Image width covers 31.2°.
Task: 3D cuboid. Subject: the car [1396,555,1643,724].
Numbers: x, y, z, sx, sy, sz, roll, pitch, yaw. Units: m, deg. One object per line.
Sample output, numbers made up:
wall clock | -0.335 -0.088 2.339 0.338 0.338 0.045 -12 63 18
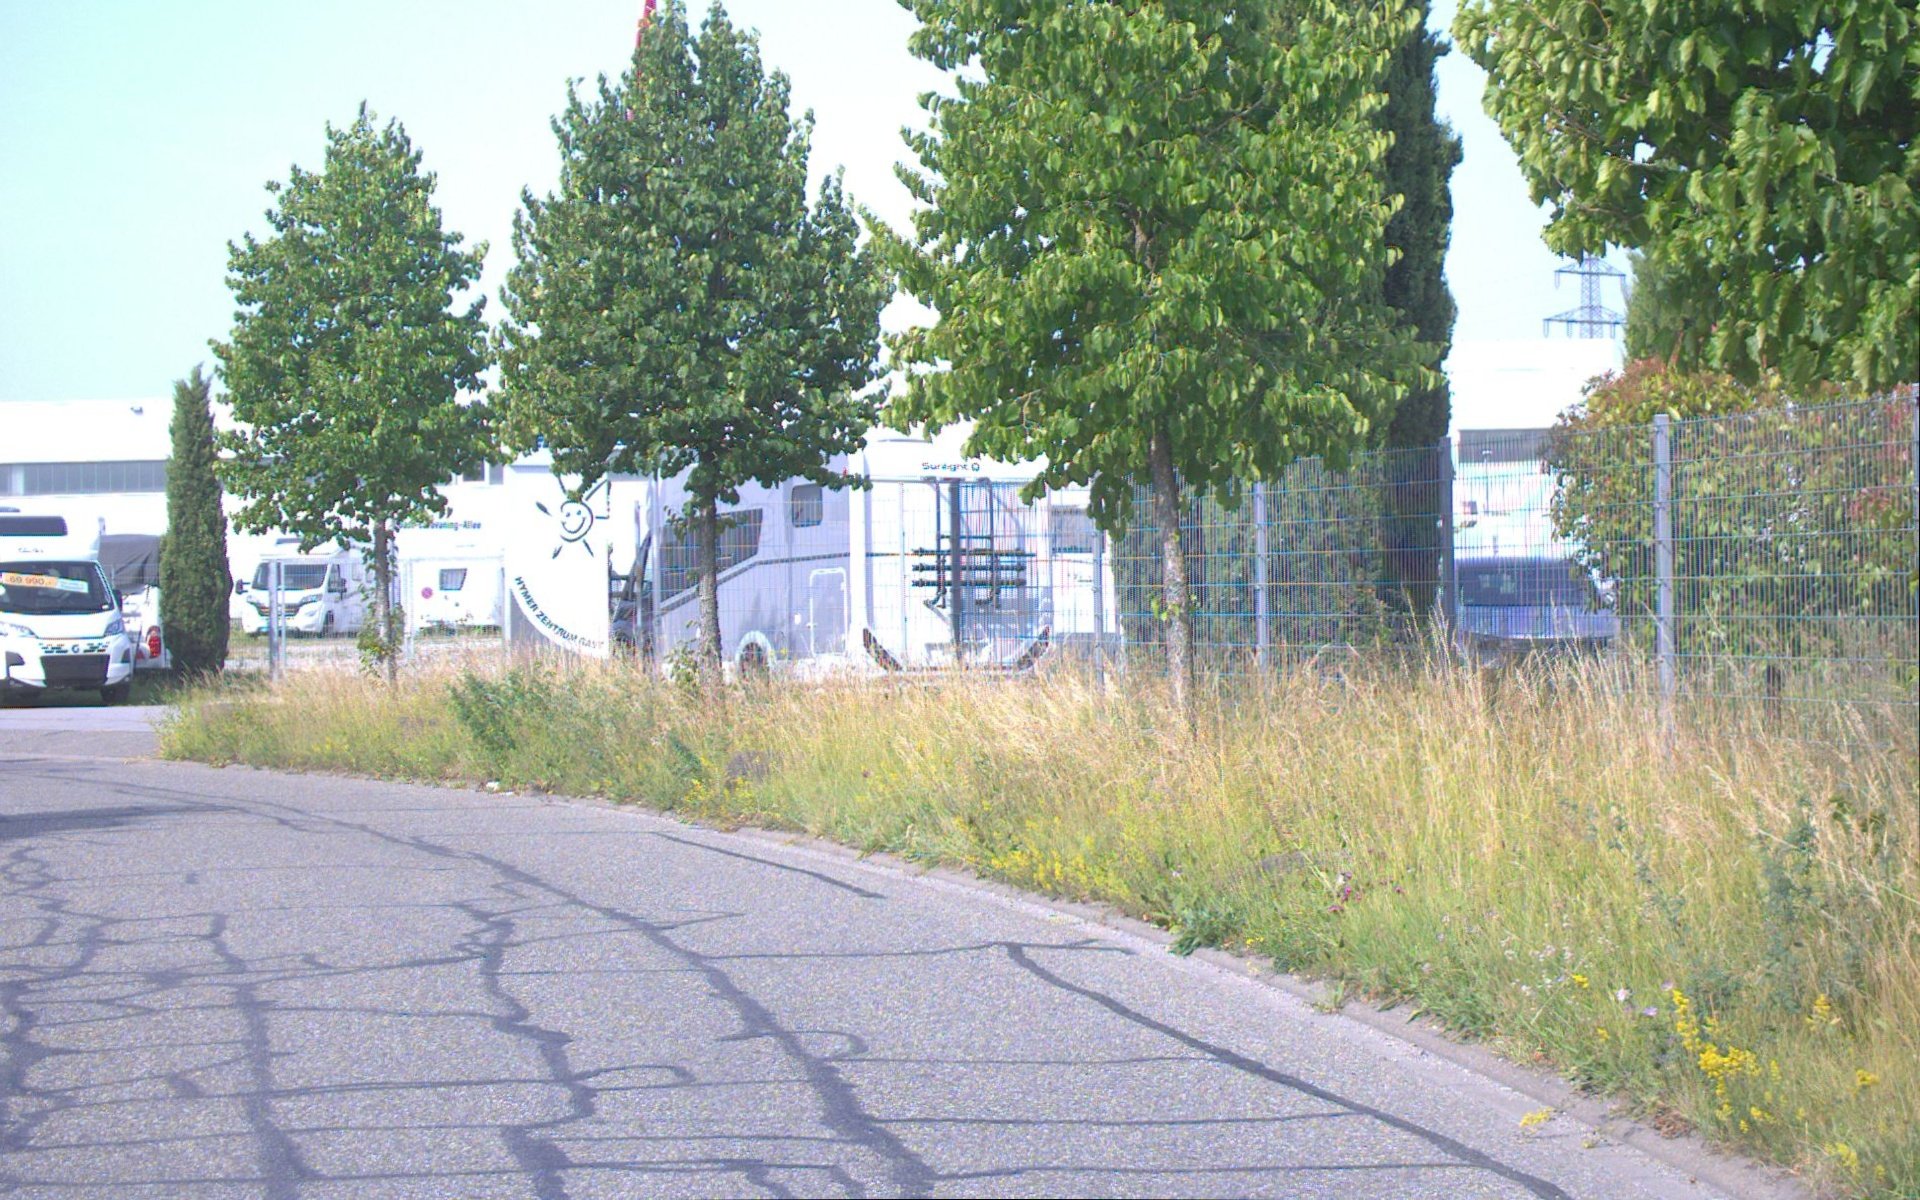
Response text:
car | 5.726 0.360 35.616 1.722 1.637 4.001 1 1 -3

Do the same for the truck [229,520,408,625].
truck | -15.837 -0.707 85.451 2.451 2.463 8.001 -1 1 4

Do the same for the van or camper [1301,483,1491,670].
van or camper | 7.056 -0.365 56.407 2.320 2.854 6.609 -1 0 1

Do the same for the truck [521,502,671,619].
truck | -9.193 -1.013 87.659 2.451 2.817 8.001 -1 1 4

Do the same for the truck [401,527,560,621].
truck | -12.162 -0.685 87.910 2.451 2.257 8.001 -1 1 4

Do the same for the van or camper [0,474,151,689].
van or camper | -14.271 -0.278 50.277 2.331 2.933 6.970 -1 1 -35

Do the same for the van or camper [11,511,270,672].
van or camper | -13.725 -0.195 58.112 2.483 2.550 6.625 0 1 3

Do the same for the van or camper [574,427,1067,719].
van or camper | -1.702 -0.277 37.214 2.349 2.838 7.342 -1 0 -28

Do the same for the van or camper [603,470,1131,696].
van or camper | -1.339 -0.247 48.879 7.258 3.021 2.585 -1 0 -3
